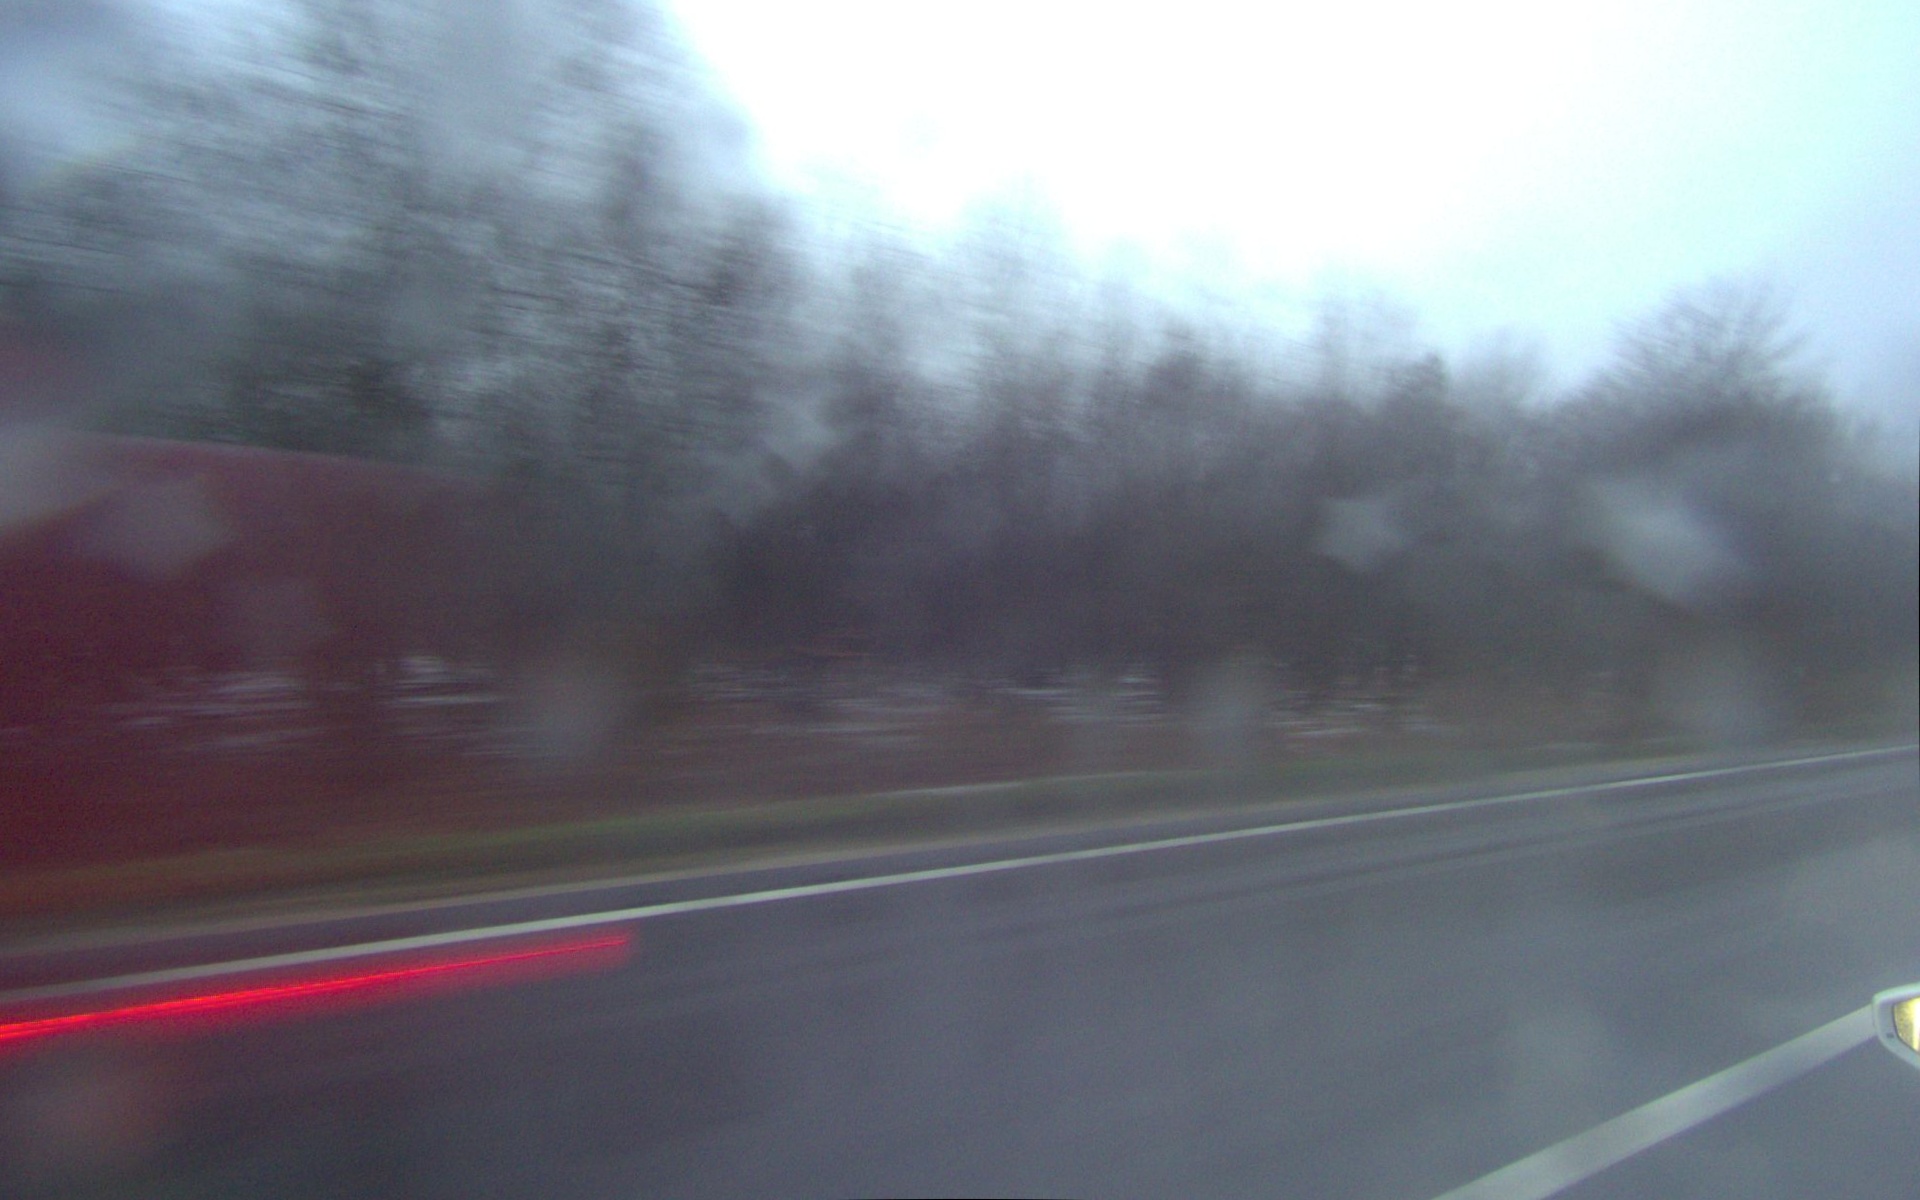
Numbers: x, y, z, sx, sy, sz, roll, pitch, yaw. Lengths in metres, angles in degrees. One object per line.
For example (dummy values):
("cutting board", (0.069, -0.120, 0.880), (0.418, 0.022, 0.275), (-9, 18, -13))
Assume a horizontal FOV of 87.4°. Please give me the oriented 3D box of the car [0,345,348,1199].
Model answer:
("car", (-3.172, 0.451, 1.451), (3.791, 1.760, 1.666), (2, 0, -30))
